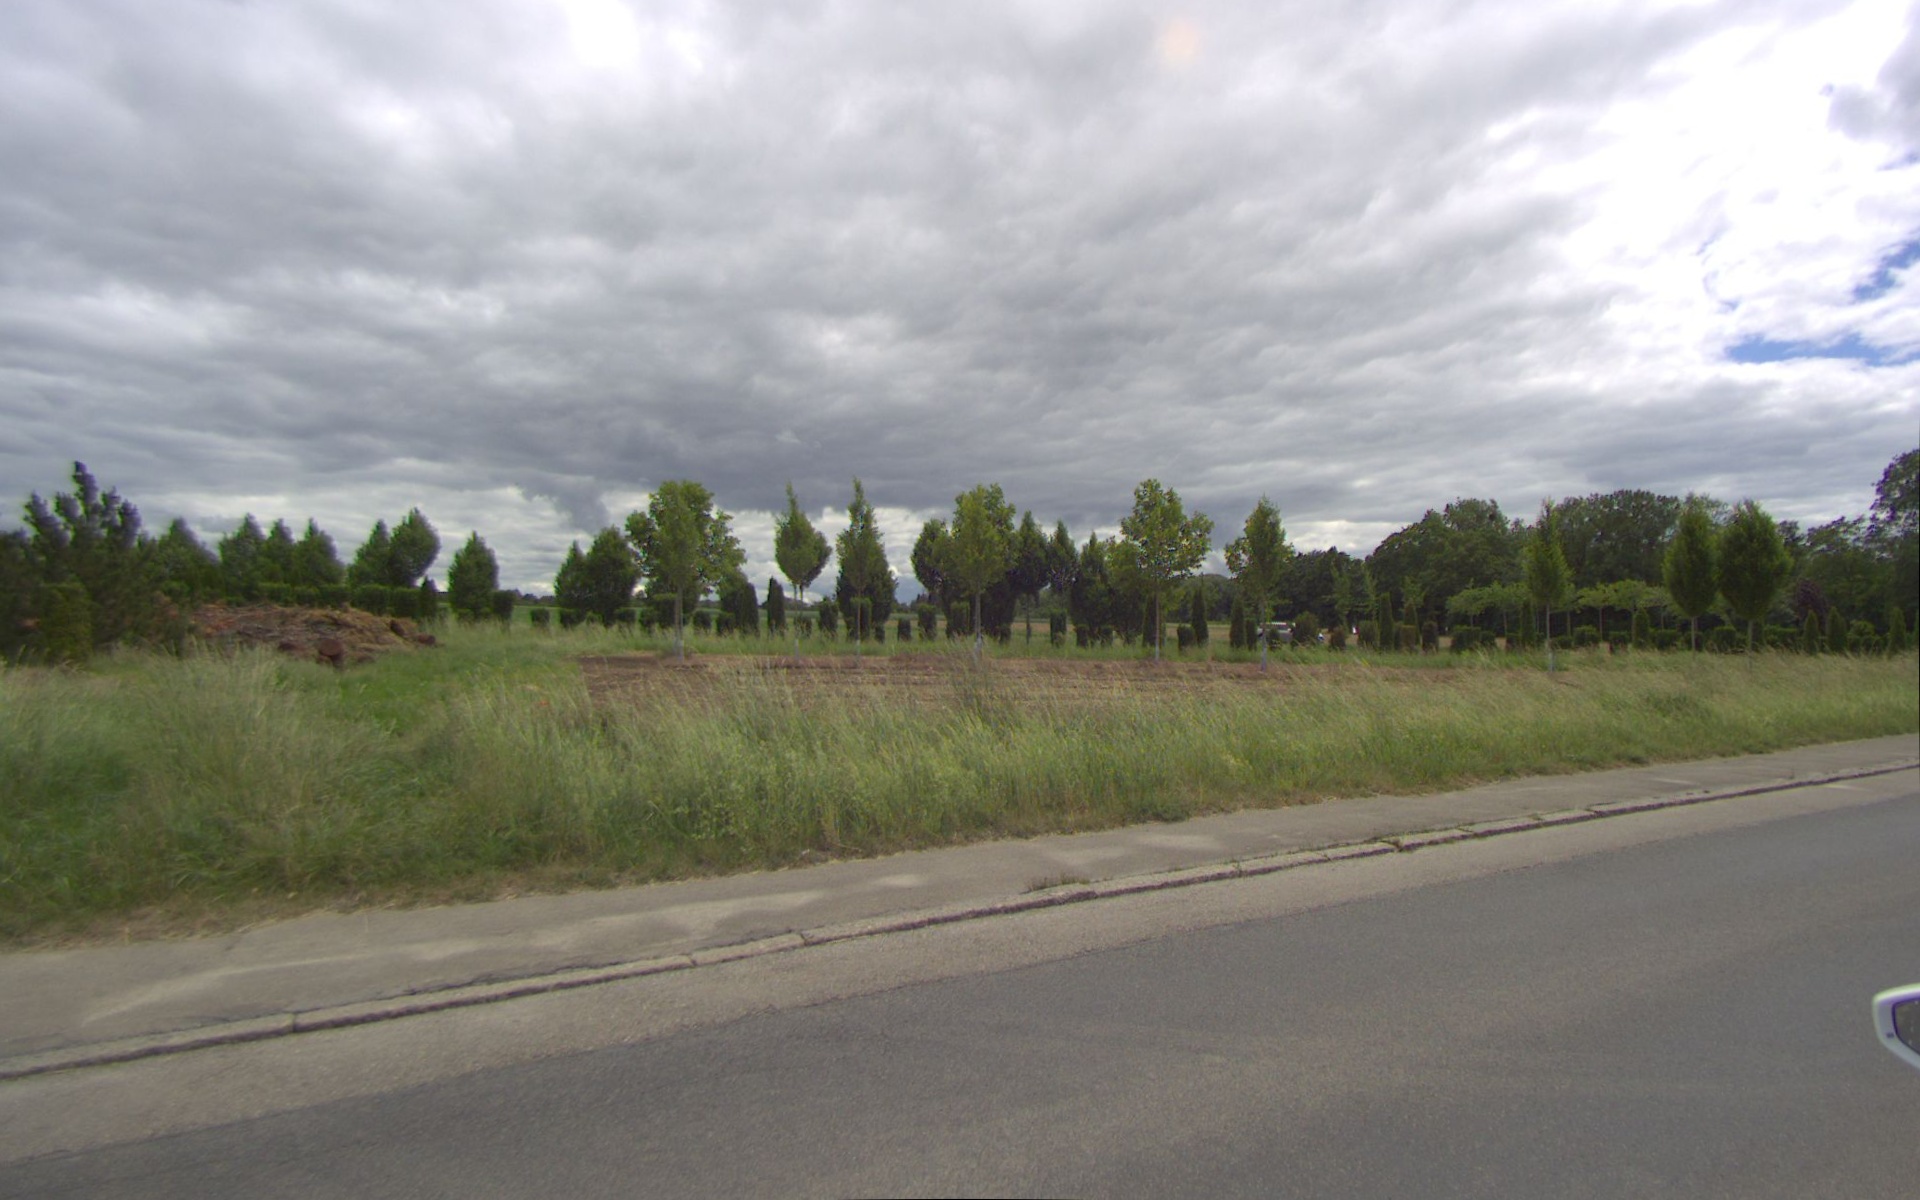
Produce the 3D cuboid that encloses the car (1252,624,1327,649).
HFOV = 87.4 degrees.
[{"bbox_3d":[20.286,2.212,61.886,3.946,1.473,1.963,-1,-2,45],"label":"car"}]
